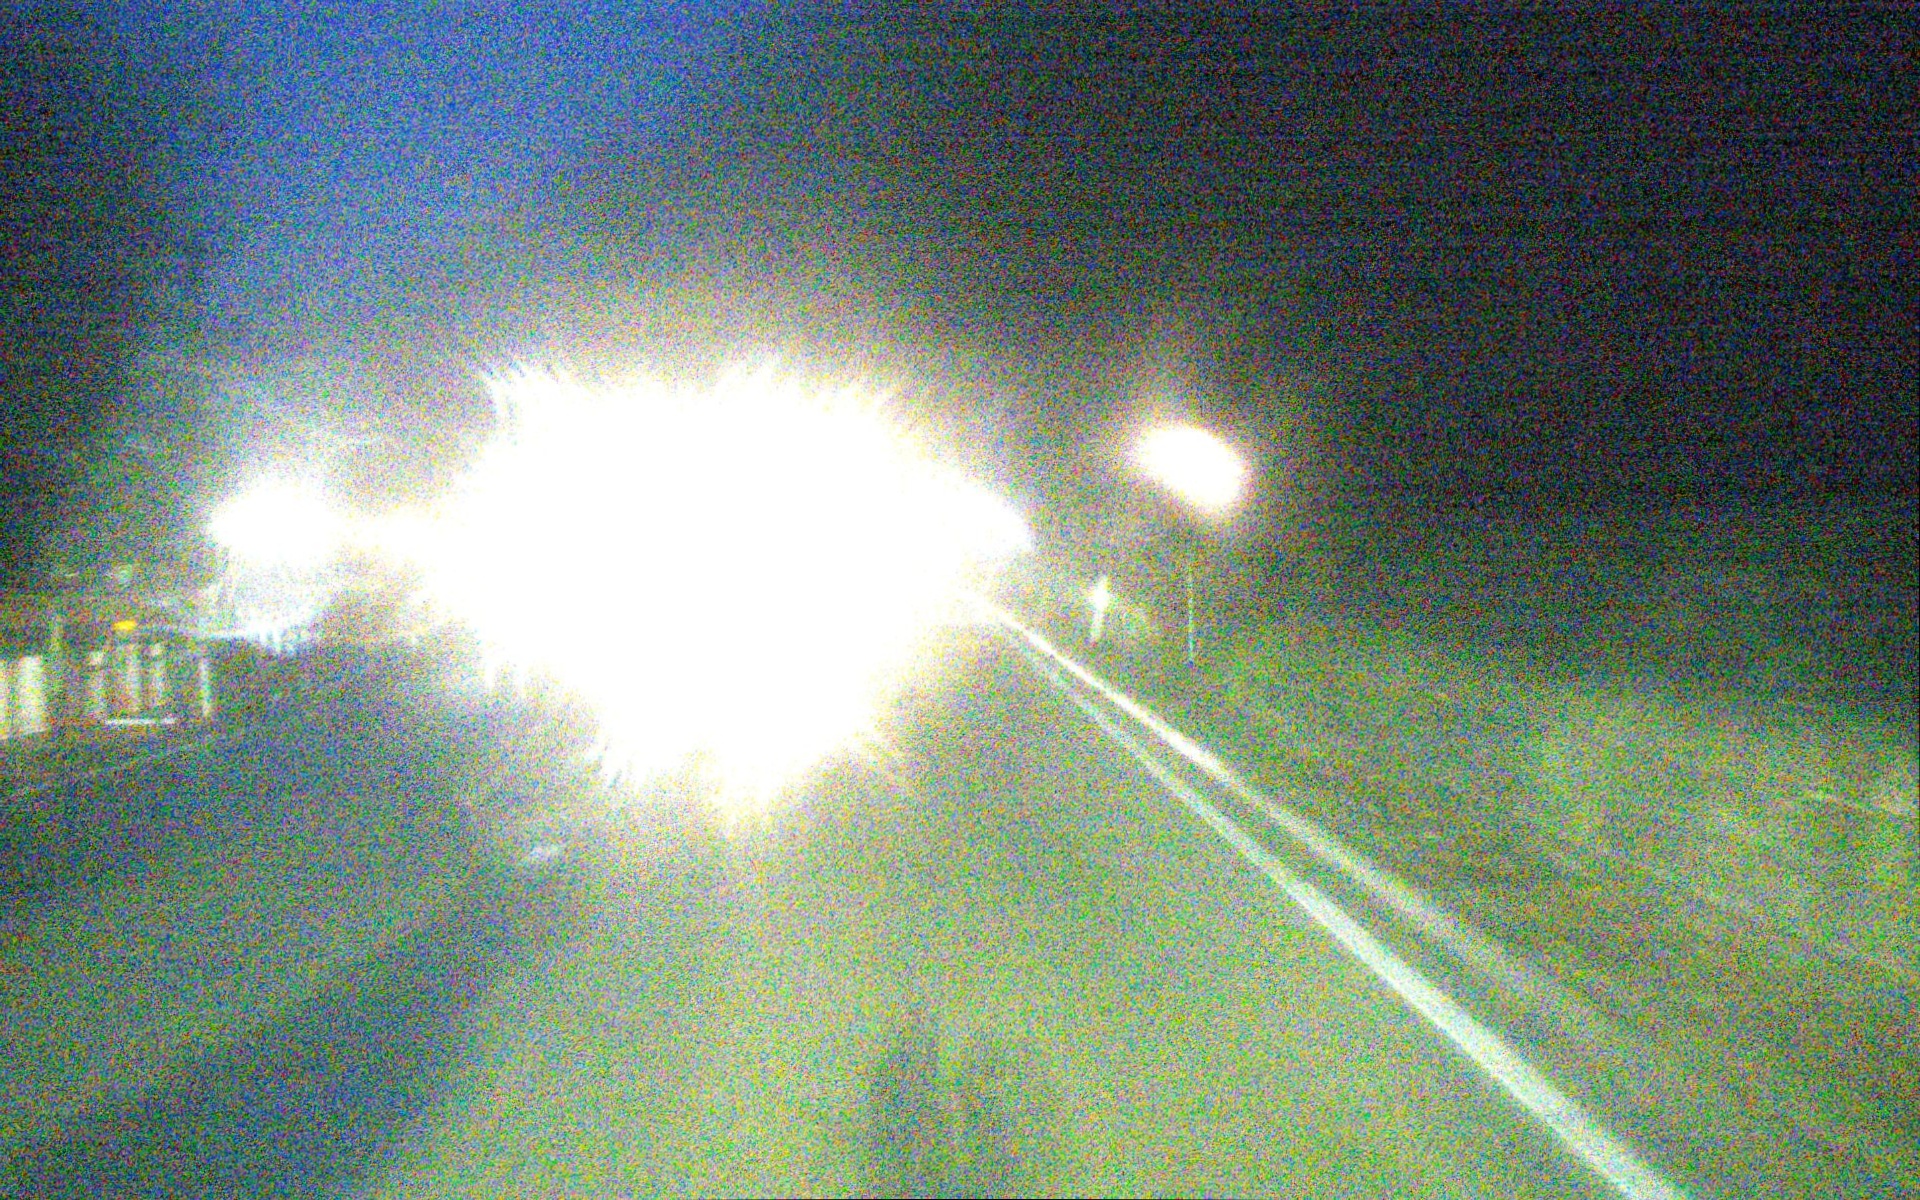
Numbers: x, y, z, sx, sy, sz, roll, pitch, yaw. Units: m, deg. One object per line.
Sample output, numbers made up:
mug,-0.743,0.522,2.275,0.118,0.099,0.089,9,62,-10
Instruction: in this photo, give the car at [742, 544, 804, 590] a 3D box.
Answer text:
car,-6.297,-1.122,115.983,1.993,1.452,4.099,-2,1,-3

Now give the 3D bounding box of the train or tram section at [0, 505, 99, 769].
train or tram section,-14.012,0.454,46.374,2.843,3.448,8.554,0,1,-1
